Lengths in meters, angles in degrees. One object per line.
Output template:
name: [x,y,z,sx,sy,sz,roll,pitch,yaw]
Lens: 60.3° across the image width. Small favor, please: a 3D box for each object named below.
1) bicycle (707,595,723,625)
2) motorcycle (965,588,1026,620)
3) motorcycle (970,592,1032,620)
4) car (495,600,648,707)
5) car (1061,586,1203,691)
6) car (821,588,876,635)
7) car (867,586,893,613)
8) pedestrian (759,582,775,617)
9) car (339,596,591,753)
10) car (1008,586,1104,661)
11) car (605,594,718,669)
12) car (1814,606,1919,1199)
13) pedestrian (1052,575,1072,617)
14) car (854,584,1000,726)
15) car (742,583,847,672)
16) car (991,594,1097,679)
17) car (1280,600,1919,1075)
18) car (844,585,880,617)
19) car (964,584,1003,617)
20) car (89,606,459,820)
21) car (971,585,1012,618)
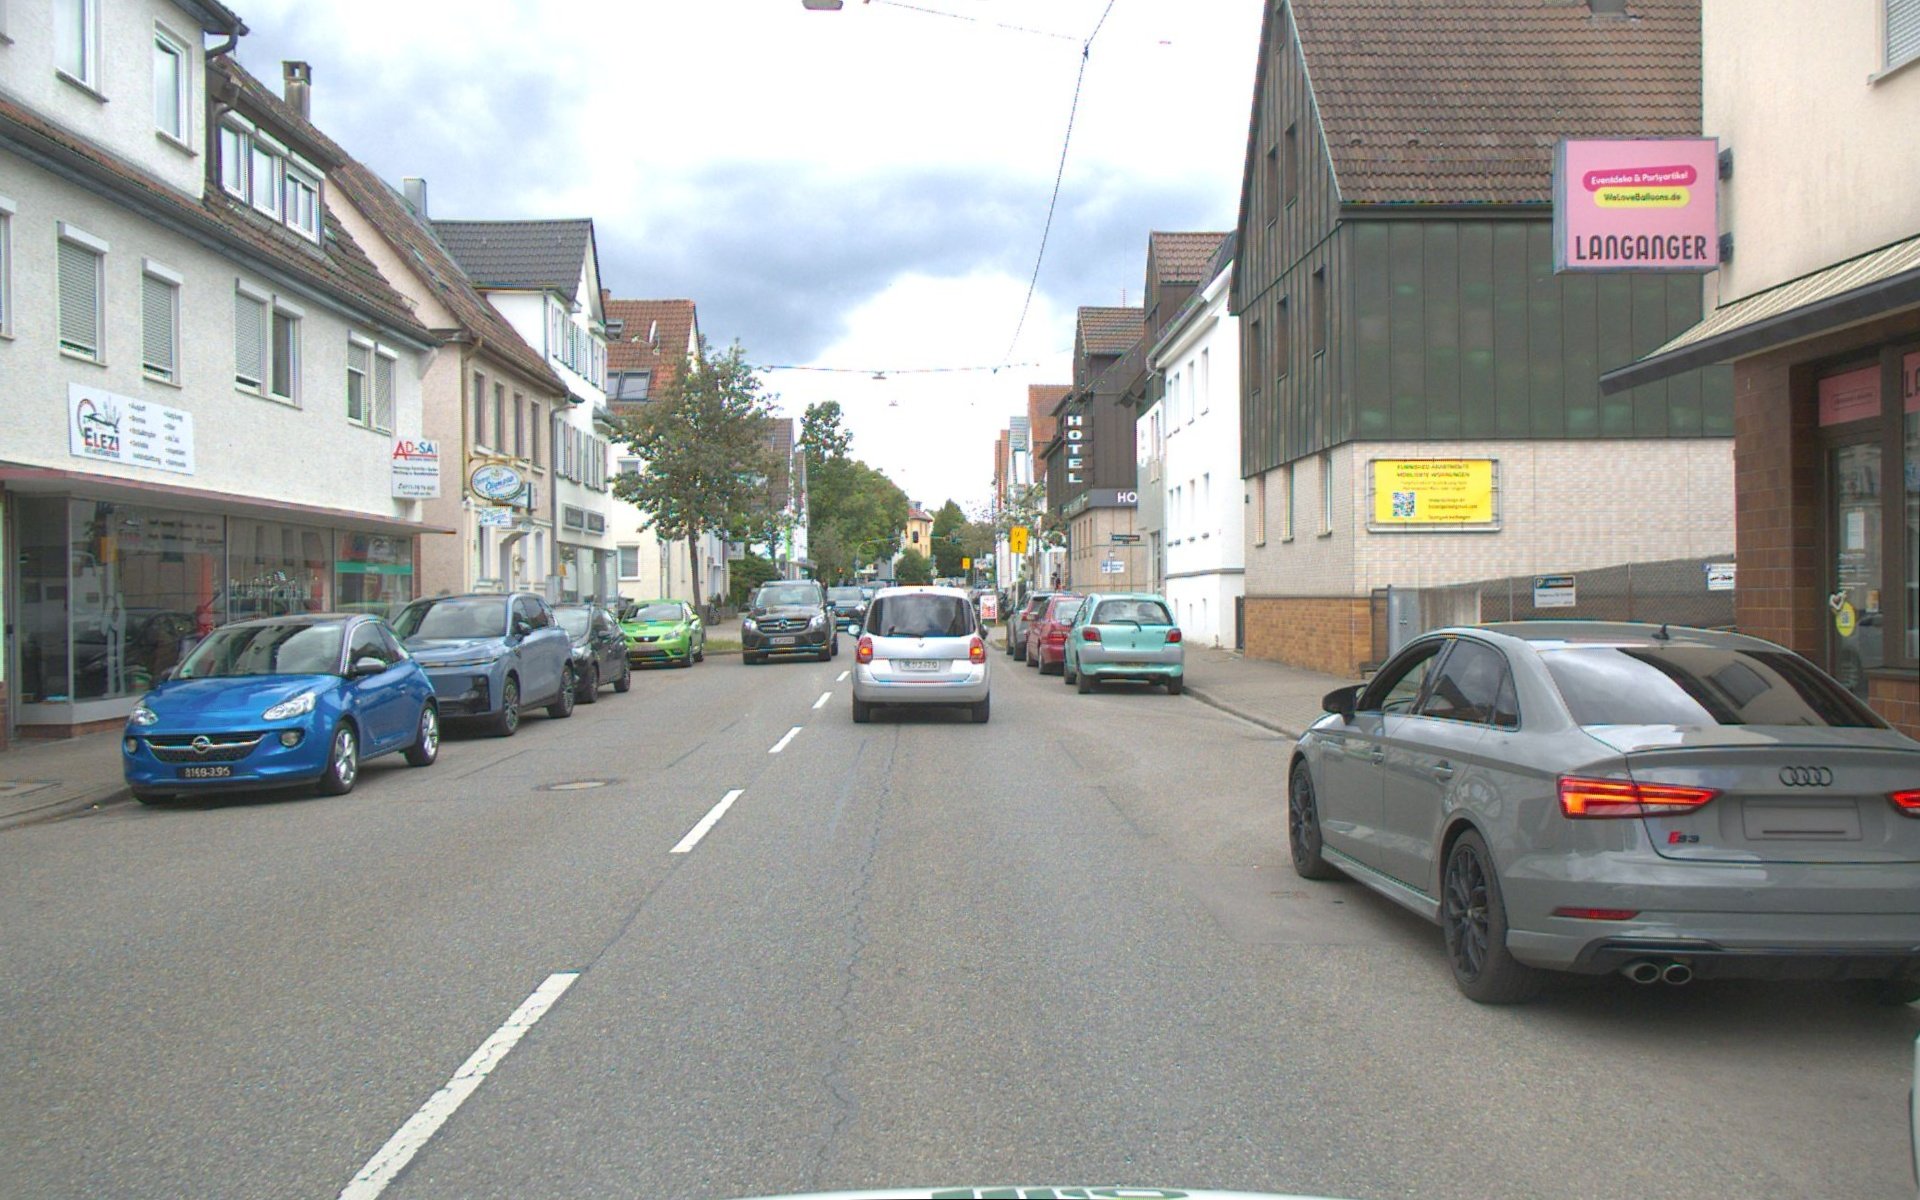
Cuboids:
bicycle: [-10.022,0.403,67.617,0.504,1.174,1.665,0,0,-4]
motorcycle: [1.540,0.162,71.219,2.681,1.359,0.692,0,0,-32]
motorcycle: [1.737,0.245,70.178,2.701,1.204,0.692,0,0,-32]
car: [-5.989,0.774,25.871,1.549,1.534,3.812,0,0,-1]
car: [2.655,0.555,26.335,1.794,1.524,3.993,0,0,-1]
car: [-4.097,0.403,61.311,1.758,1.606,4.191,-3,1,-1]
car: [-6.134,-0.046,127.042,1.913,2.049,3.999,0,0,-1]
pedestrian: [-10.284,-0.021,88.030,0.747,1.822,0.889,0,0,-2]
car: [-5.895,0.812,20.235,1.766,1.627,4.304,-2,0,-1]
car: [2.090,0.484,37.163,1.837,1.566,4.512,0,0,-1]
car: [-6.419,0.639,35.953,1.648,1.473,4.020,-2,0,0]
car: [2.912,0.770,1.554,1.795,1.471,4.329,0,0,-3]
pedestrian: [4.722,-0.196,76.793,0.839,1.961,0.899,0,0,-1]
car: [-0.393,0.608,20.739,1.648,1.593,3.993,0,0,-1]
car: [-3.607,0.562,36.759,1.862,1.767,4.365,-2,0,-1]
car: [1.523,0.629,31.316,1.719,1.471,4.454,0,0,-1]
car: [2.789,0.755,7.316,1.794,1.471,4.108,0,0,-2]
car: [-4.792,0.048,80.407,1.649,1.473,4.017,-2,0,-4]
car: [1.099,0.014,79.168,1.666,1.492,4.237,0,0,-2]
car: [-5.800,0.870,14.502,1.648,1.525,3.774,-2,0,-1]
car: [1.401,0.048,74.364,1.666,1.454,3.889,0,0,-2]
